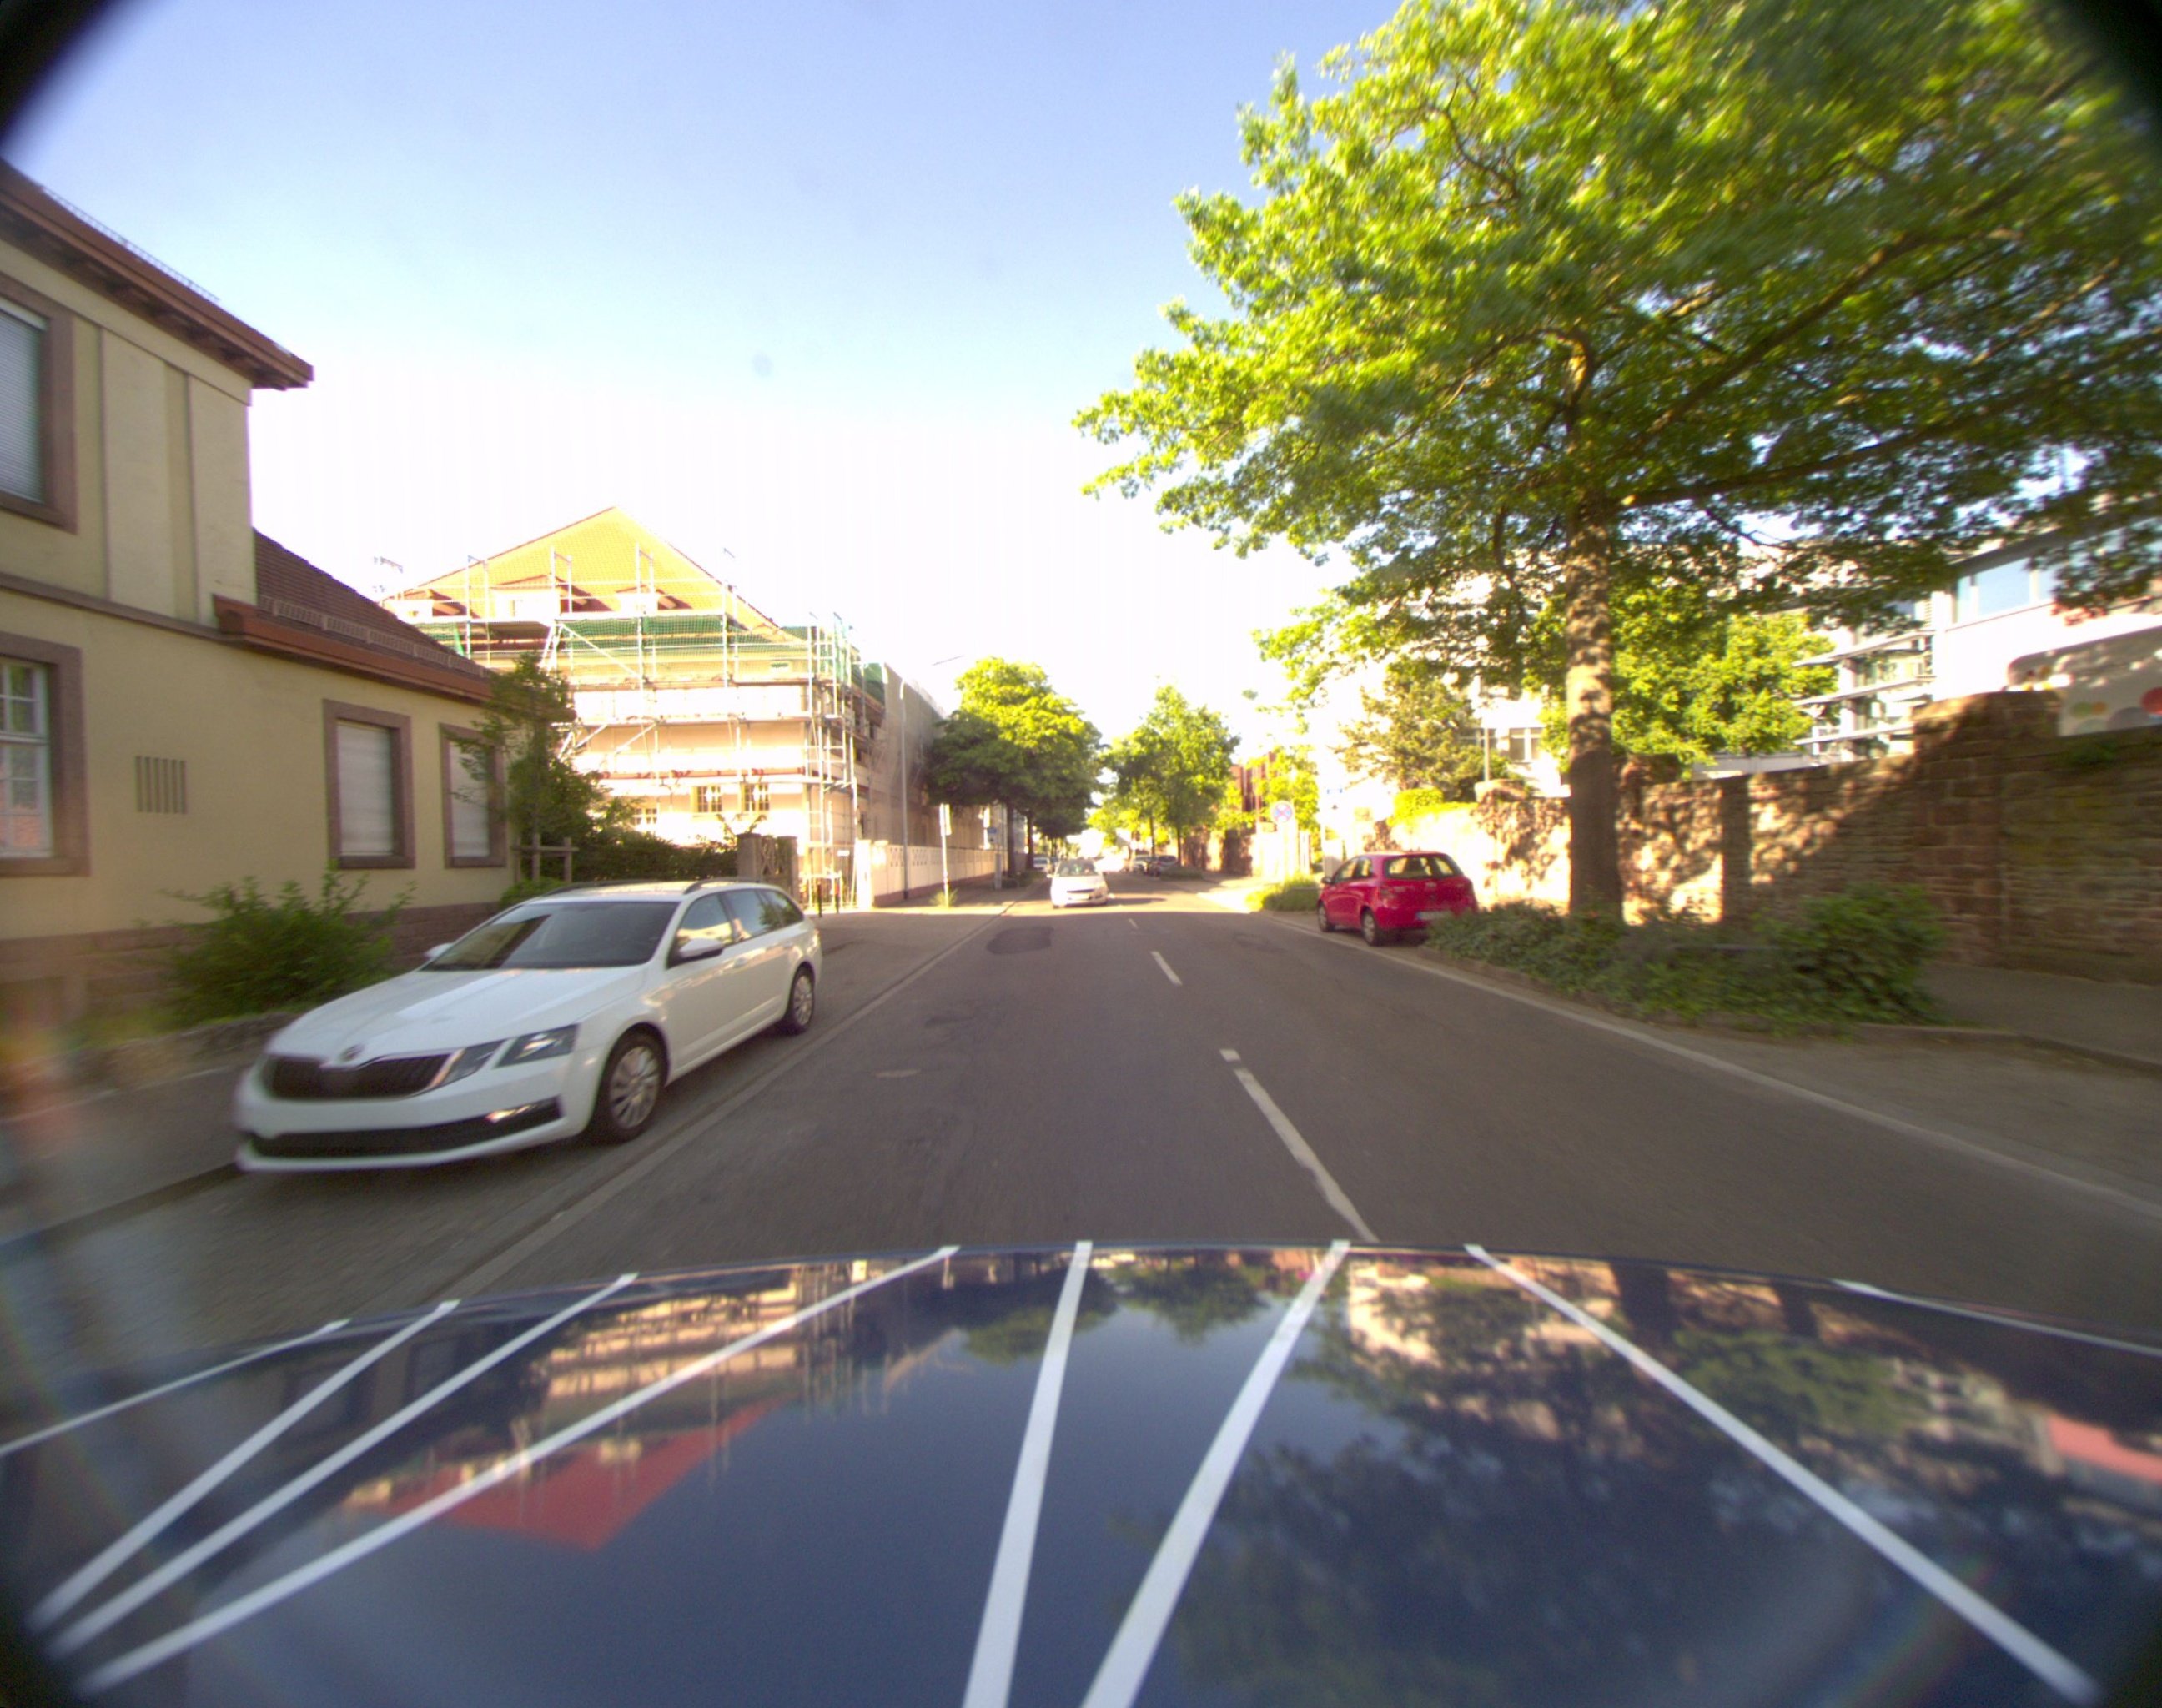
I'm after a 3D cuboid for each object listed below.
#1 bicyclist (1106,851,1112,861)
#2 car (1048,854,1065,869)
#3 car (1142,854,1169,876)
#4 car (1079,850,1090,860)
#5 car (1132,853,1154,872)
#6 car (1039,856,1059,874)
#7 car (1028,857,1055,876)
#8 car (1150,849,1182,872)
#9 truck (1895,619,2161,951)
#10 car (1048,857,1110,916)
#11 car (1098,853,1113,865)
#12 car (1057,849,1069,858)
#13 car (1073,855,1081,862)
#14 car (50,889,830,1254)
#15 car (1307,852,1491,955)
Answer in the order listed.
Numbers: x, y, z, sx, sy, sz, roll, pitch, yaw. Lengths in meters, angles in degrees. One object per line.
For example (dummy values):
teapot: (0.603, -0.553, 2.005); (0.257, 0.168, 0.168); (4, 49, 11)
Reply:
bicyclist: (4.084, 0.292, 110.168); (0.722, 1.513, 1.005); (-3, 1, 3)
car: (-2.814, 0.883, 86.995); (1.797, 1.606, 4.126); (-3, 0, -1)
car: (5.575, 0.805, 57.104); (1.577, 1.506, 4.044); (-2, 0, -1)
car: (0.587, 0.232, 137.018); (1.834, 1.732, 3.999); (-3, 0, -1)
car: (5.564, 0.768, 68.613); (1.681, 1.502, 3.849); (-5, 0, 1)
car: (-2.965, 1.022, 71.125); (1.717, 1.628, 4.302); (-2, 0, -2)
car: (-3.186, 0.974, 61.993); (1.727, 1.501, 3.993); (0, 0, 3)
car: (5.745, 0.392, 51.948); (1.691, 1.413, 3.838); (-3, 0, 0)
truck: (13.427, -0.831, 7.472); (2.739, 3.689, 7.427); (-3, 0, 0)
car: (-0.004, 0.970, 24.429); (1.748, 1.613, 4.106); (-3, 0, 1)
car: (3.067, 0.666, 96.291); (1.826, 1.427, 3.969); (-3, 0, 0)
car: (-3.200, -0.150, 137.318); (1.887, 1.592, 4.298); (-2, 0, 1)
car: (-0.840, 0.970, 176.353); (1.757, 1.459, 3.485); (-3, 0, -1)
car: (-3.481, 1.037, 5.507); (1.837, 1.315, 4.495); (-1, 0, 0)
car: (5.294, 0.734, 13.190); (1.613, 1.450, 3.708); (-3, 0, 1)
